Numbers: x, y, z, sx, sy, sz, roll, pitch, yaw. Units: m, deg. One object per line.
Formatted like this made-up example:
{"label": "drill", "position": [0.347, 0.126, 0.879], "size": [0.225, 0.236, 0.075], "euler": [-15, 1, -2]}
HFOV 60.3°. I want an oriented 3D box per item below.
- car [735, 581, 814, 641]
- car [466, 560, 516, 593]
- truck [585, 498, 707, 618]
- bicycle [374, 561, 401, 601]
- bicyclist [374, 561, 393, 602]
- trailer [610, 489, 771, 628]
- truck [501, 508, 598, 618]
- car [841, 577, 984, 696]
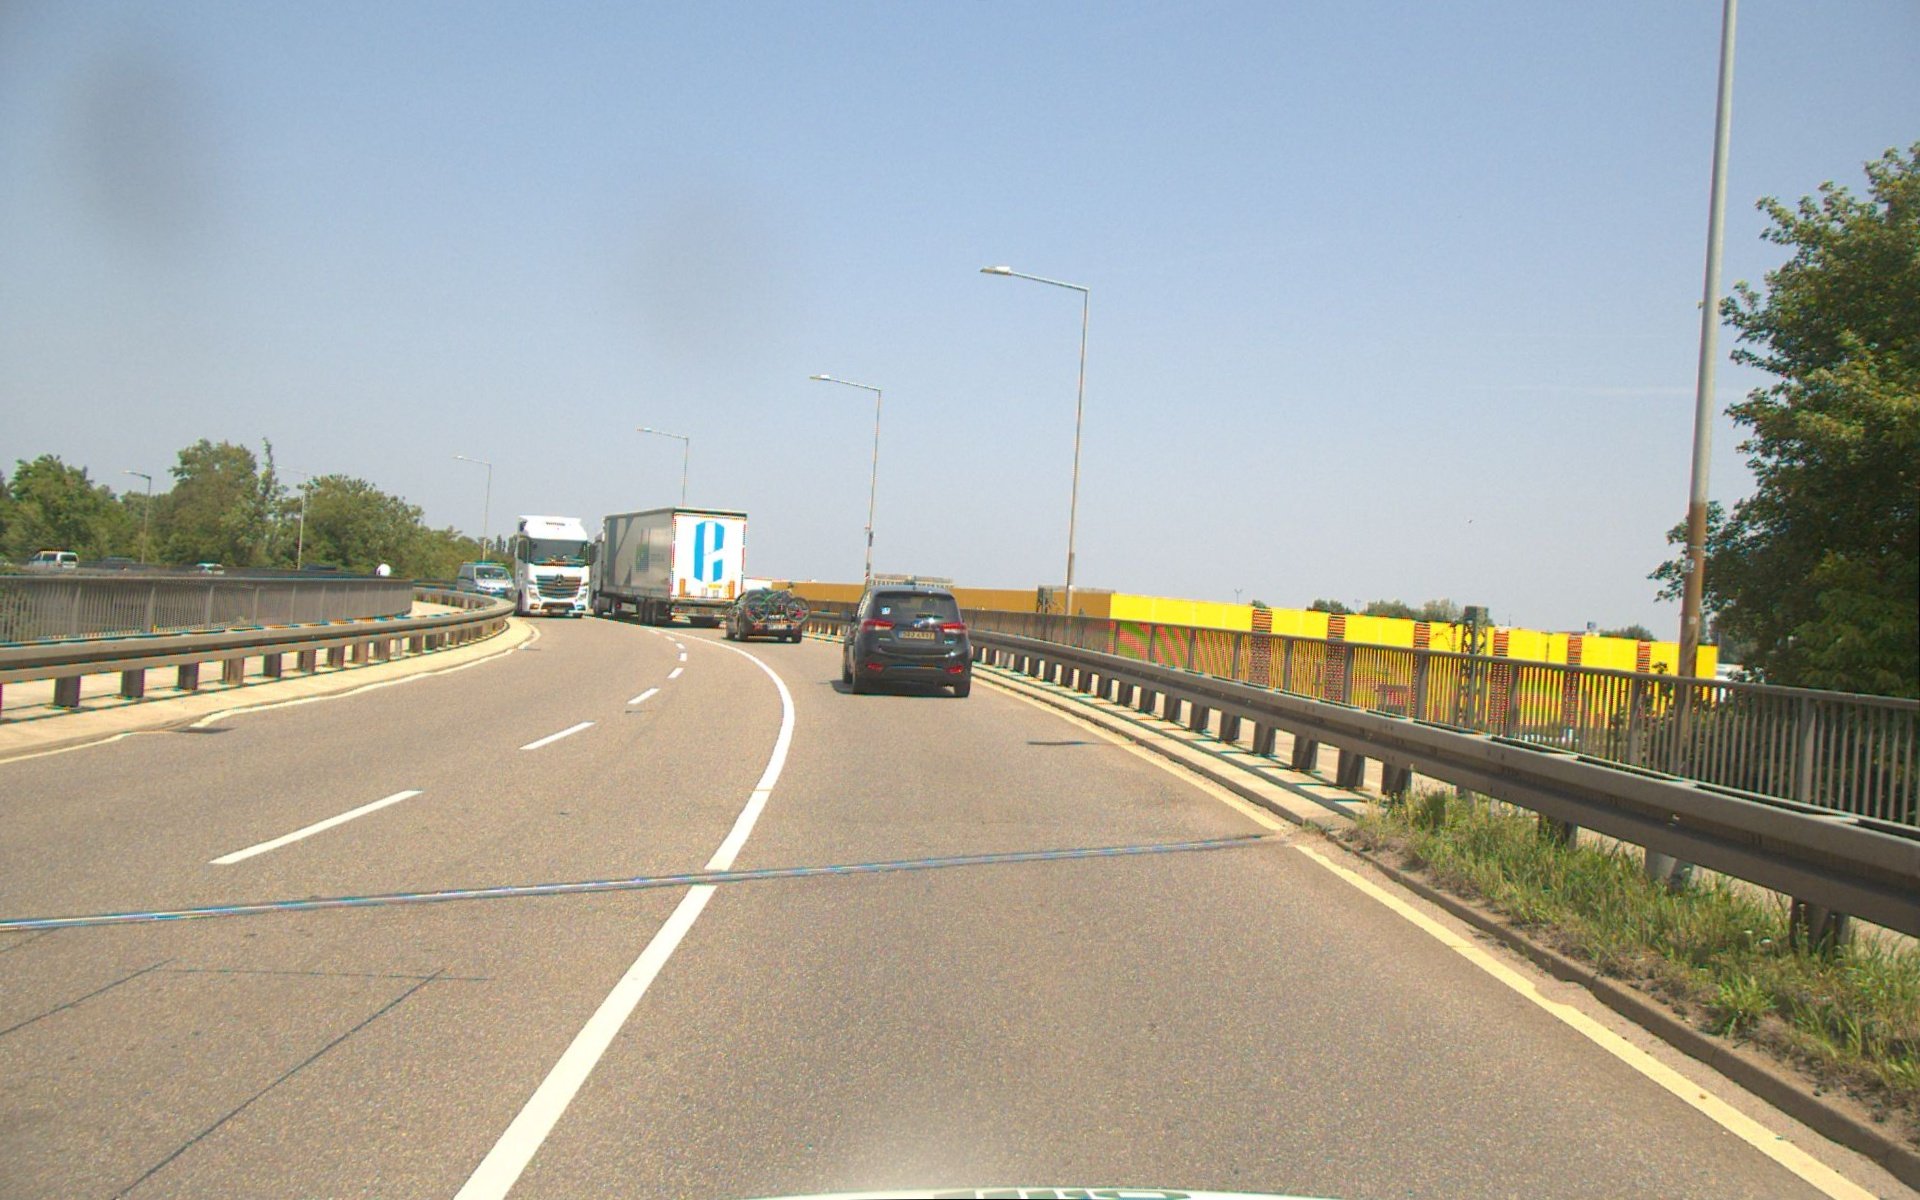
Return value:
{"label": "car", "position": [-5.141, 0.267, 45.494], "size": [1.974, 1.454, 3.770], "euler": [3, 0, -8]}
{"label": "car", "position": [-21.721, -1.091, 76.556], "size": [1.540, 1.410, 3.585], "euler": [3, 0, -26]}
{"label": "truck", "position": [-13.040, -1.728, 68.298], "size": [3.524, 4.518, 6.471], "euler": [3, 0, -23]}
{"label": "bicycle", "position": [-27.432, -0.921, 79.182], "size": [0.691, 1.833, 2.157], "euler": [3, 0, -32]}
{"label": "bicyclist", "position": [-27.773, -0.893, 79.694], "size": [0.618, 1.919, 0.704], "euler": [3, 0, -33]}
{"label": "trailer", "position": [-10.160, -1.514, 60.984], "size": [3.518, 4.460, 11.372], "euler": [3, 0, -21]}
{"label": "truck", "position": [-16.425, -1.475, 65.861], "size": [2.669, 4.061, 6.143], "euler": [3, 0, -23]}
{"label": "car", "position": [-0.807, 0.499, 25.380], "size": [1.884, 1.601, 3.887], "euler": [3, 0, -5]}
